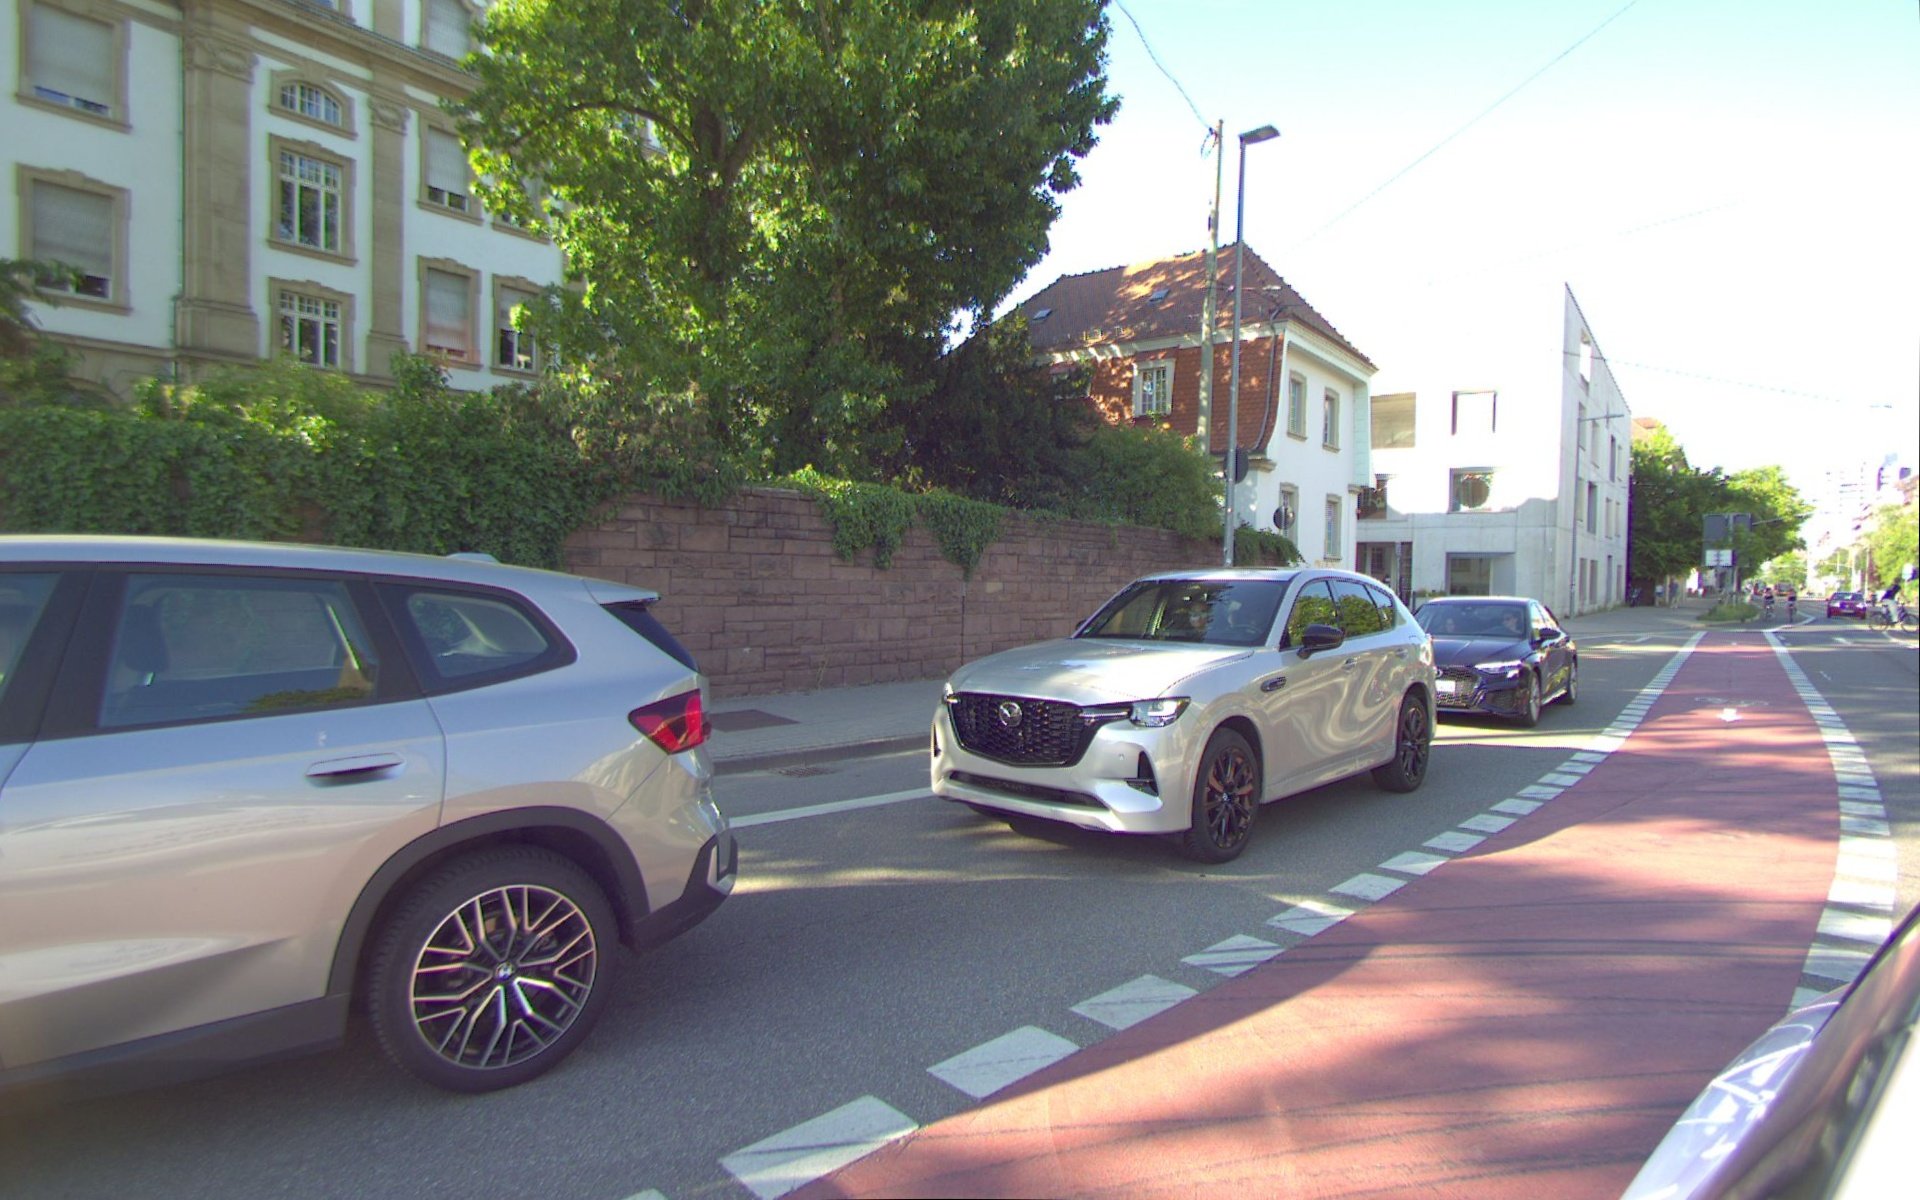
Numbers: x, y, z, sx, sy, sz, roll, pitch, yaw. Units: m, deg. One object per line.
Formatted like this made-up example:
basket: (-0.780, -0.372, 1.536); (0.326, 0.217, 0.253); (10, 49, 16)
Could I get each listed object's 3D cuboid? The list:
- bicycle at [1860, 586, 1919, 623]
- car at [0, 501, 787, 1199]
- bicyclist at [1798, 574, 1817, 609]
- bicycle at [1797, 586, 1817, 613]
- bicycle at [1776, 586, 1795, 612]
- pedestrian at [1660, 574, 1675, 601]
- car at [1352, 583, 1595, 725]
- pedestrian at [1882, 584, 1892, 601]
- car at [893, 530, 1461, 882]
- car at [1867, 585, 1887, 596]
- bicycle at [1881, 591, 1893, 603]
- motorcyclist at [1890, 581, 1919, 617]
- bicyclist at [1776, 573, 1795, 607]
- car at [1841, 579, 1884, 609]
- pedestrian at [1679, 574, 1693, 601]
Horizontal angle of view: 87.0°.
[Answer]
bicycle: (33.716, 0.175, 36.074); (2.415, 1.266, 0.675); (1, 1, 8)
car: (-2.828, 0.576, 2.957); (4.248, 1.614, 1.792); (0, 0, -36)
bicyclist: (41.607, -0.425, 49.700); (0.673, 1.667, 1.014); (2, 2, 40)
bicycle: (41.556, -0.018, 49.659); (0.673, 1.265, 2.421); (2, 2, 40)
bicycle: (41.526, -0.051, 50.917); (0.673, 1.265, 2.421); (2, 2, 40)
pedestrian: (44.981, -0.798, 64.329); (0.673, 1.668, 0.806); (1, 1, 40)
car: (6.416, 0.525, 12.438); (1.782, 1.451, 3.941); (0, 1, 41)
pedestrian: (94.325, -0.777, 102.958); (0.803, 1.668, 0.675); (0, 1, -41)
car: (1.813, 0.491, 7.227); (1.940, 1.713, 4.460); (0, 1, 44)
car: (131.321, -1.401, 144.944); (1.640, 1.580, 3.602); (0, 0, 36)
bicycle: (94.307, -0.325, 102.949); (2.414, 1.266, 0.675); (0, 1, -42)
motorcyclist: (33.900, -0.047, 36.043); (0.839, 1.266, 0.675); (1, 1, 8)
bicyclist: (41.476, -0.487, 50.837); (0.673, 1.667, 1.014); (2, 2, 40)
car: (48.863, -0.340, 54.785); (1.644, 1.580, 3.593); (0, 0, 44)
pedestrian: (45.753, -0.772, 63.778); (0.673, 1.668, 0.806); (1, 1, 40)
